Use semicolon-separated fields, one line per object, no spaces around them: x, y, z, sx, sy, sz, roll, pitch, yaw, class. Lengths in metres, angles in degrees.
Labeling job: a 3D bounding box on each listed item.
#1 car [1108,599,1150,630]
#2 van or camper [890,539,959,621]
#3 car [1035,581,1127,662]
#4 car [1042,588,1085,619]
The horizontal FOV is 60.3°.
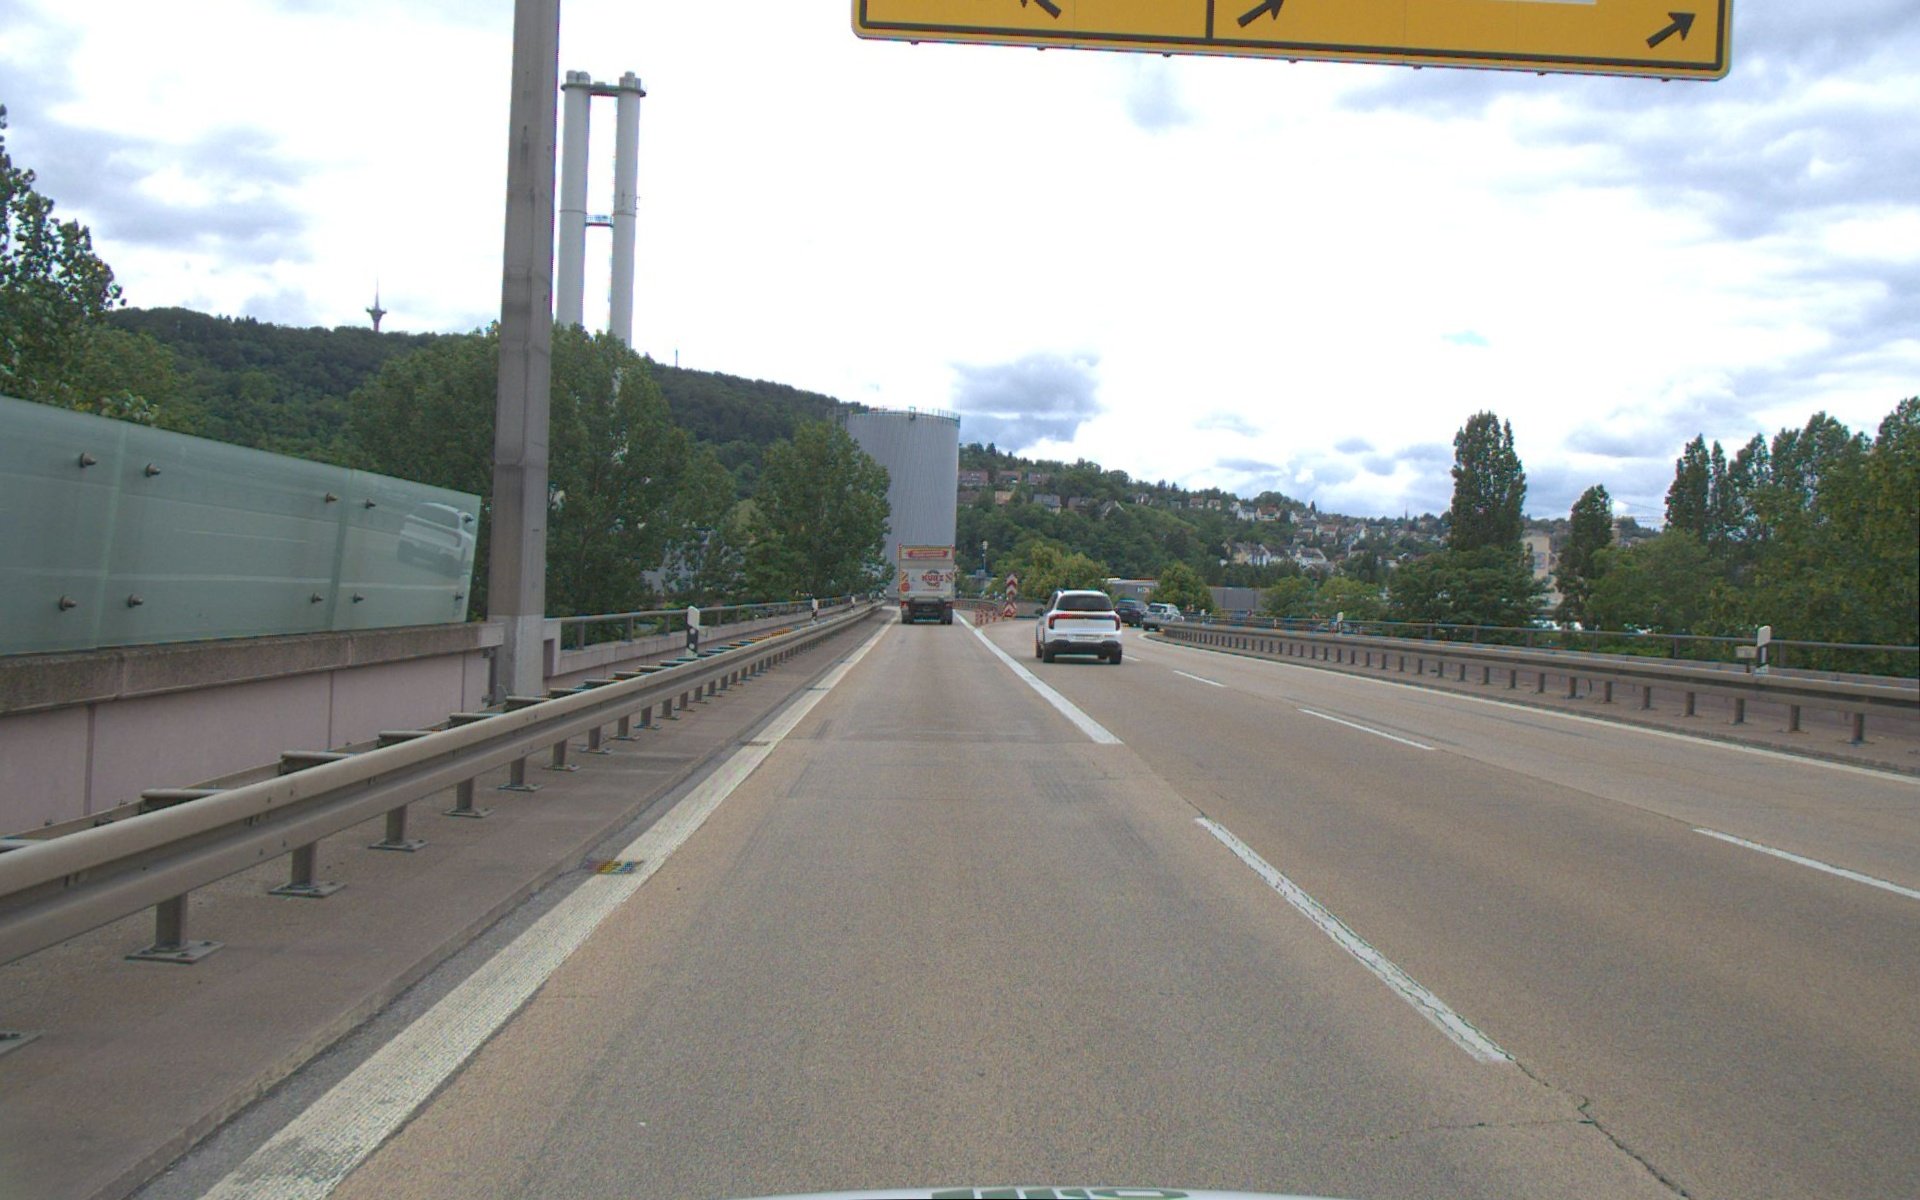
10.463;0.866;102.671;1.886;1.816;4.109;1;1;-5;car
-1.629;-0.914;78.710;3.058;3.641;8.549;1;0;0;van or camper
2.837;0.466;39.659;1.884;1.816;4.113;1;1;0;car
6.437;0.201;102.488;1.883;1.816;4.116;1;1;15;car
